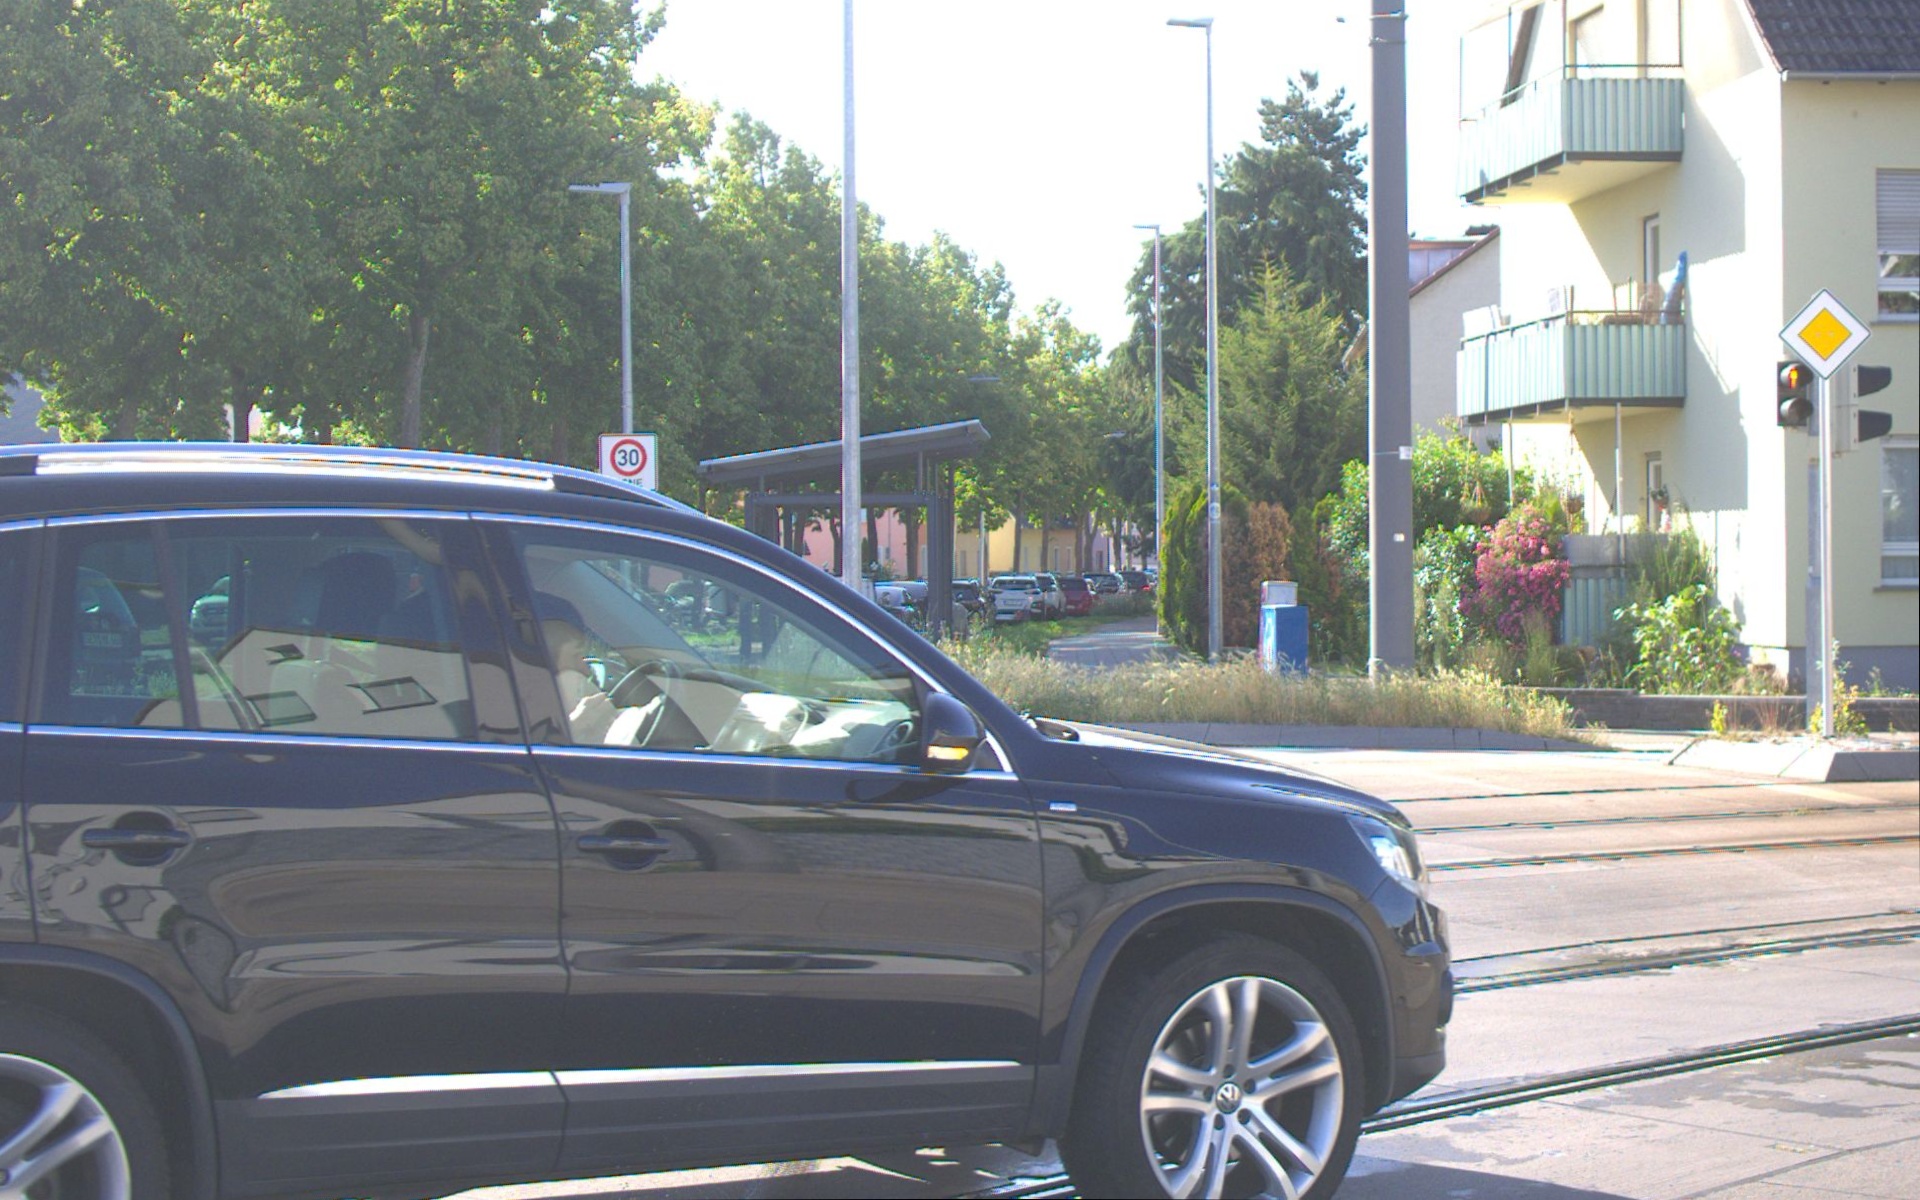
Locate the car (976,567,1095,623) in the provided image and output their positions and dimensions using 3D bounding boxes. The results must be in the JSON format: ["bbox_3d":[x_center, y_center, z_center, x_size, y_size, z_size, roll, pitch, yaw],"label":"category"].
[{"bbox_3d":[2.174,-0.160,98.973,3.359,1.528,1.523,1,0,1],"label":"car"}]

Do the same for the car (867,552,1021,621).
[{"bbox_3d":[-0.358,-0.330,80.675,3.517,1.528,1.577,1,0,2],"label":"car"}]

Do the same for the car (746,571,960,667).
[{"bbox_3d":[-1.806,0.310,58.566,3.517,1.528,1.577,1,0,2],"label":"car"}]

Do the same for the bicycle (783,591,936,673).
[{"bbox_3d":[-1.324,0.411,45.169,1.973,1.024,0.696,1,0,-2],"label":"bicycle"}]

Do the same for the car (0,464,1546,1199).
[{"bbox_3d":[-1.051,0.553,7.248,4.243,1.665,1.818,-1,3,-27],"label":"car"}]

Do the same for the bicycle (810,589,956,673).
[{"bbox_3d":[-0.994,0.397,44.272,1.840,1.024,0.689,1,0,-2],"label":"bicycle"}]

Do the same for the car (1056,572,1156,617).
[{"bbox_3d":[5.227,-0.207,123.071,3.517,1.528,1.577,1,0,1],"label":"car"}]

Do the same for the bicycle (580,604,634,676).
[{"bbox_3d":[-5.147,0.585,50.116,0.766,1.033,1.534,0,-1,-6],"label":"bicycle"}]

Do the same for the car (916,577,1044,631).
[{"bbox_3d":[0.567,0.105,95.301,3.442,1.389,1.237,1,0,5],"label":"car"}]

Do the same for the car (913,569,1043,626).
[{"bbox_3d":[0.501,-0.073,93.395,3.412,1.528,1.524,0,1,5],"label":"car"}]

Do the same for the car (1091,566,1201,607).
[{"bbox_3d":[6.103,-0.442,113.098,3.517,1.275,1.577,1,0,1],"label":"car"}]

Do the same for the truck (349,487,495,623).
[{"bbox_3d":[-16.507,-1.406,106.028,3.069,3.979,8.008,1,1,1],"label":"truck"}]

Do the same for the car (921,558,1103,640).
[{"bbox_3d":[1.036,-0.027,67.965,3.517,1.528,1.577,1,0,2],"label":"car"}]

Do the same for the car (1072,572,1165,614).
[{"bbox_3d":[6.160,-0.270,133.684,3.517,1.528,1.577,1,0,1],"label":"car"}]

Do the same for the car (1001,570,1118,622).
[{"bbox_3d":[2.999,-0.134,103.706,3.479,1.488,1.552,1,0,1],"label":"car"}]

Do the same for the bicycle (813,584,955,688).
[{"bbox_3d":[-0.921,0.434,41.476,1.665,1.203,0.689,1,0,-2],"label":"bicycle"}]

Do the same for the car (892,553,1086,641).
[{"bbox_3d":[0.554,-0.061,63.488,3.517,1.528,1.577,1,0,2],"label":"car"}]

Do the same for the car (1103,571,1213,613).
[{"bbox_3d":[6.510,-0.257,113.169,3.517,1.291,1.577,1,0,1],"label":"car"}]

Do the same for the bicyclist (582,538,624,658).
[{"bbox_3d":[-5.205,-0.026,50.106,0.603,1.708,0.544,-1,-3,-6],"label":"bicyclist"}]

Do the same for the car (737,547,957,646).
[{"bbox_3d":[-1.843,-0.063,56.813,3.517,1.528,1.577,1,0,2],"label":"car"}]
